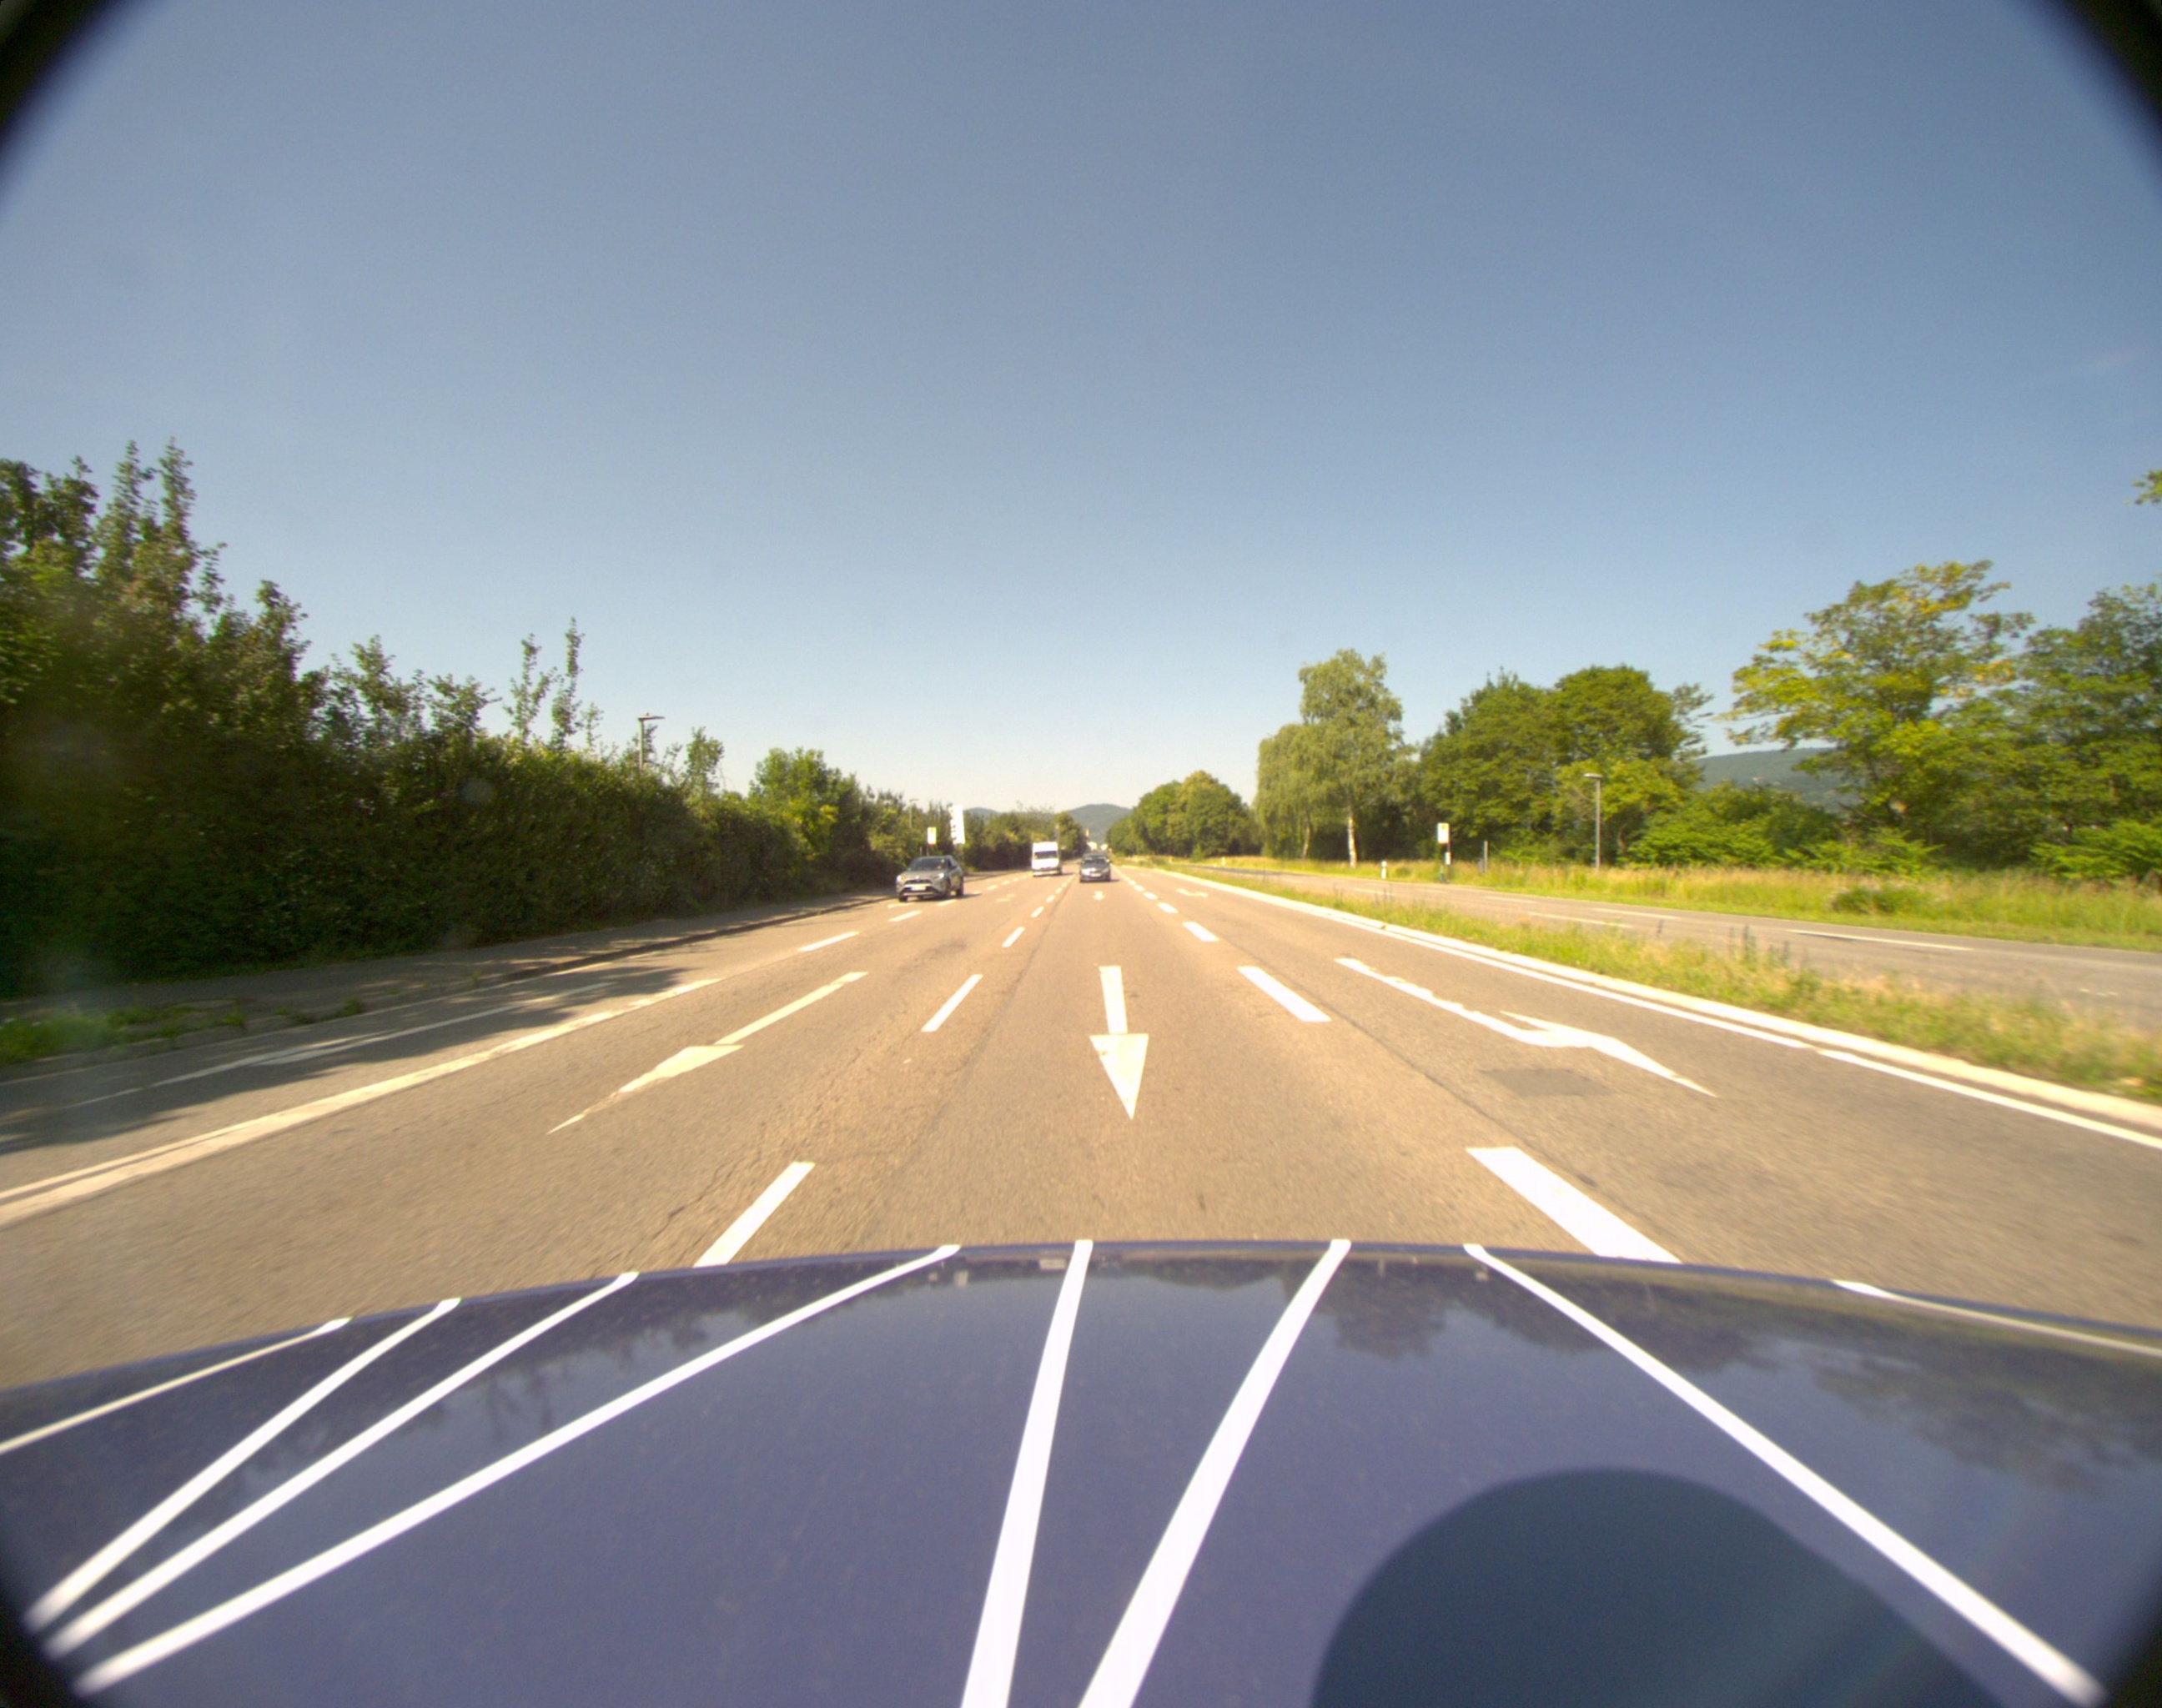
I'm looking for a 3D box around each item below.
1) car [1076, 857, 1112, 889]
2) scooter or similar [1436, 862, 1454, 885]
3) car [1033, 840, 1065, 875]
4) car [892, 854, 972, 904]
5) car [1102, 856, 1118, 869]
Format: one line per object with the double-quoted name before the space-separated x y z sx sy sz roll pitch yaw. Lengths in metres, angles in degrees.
"car" 0.682 0.930 38.574 1.678 1.435 4.361 -1 1 1
"scooter or similar" 19.978 1.049 41.739 0.369 1.179 1.340 1 1 1
"car" -2.320 0.189 56.110 1.998 2.432 5.088 -1 1 1
"car" -5.662 0.880 29.526 1.906 1.670 4.684 -3 0 3
"car" 3.349 0.958 87.814 1.678 1.435 3.622 -1 1 1
